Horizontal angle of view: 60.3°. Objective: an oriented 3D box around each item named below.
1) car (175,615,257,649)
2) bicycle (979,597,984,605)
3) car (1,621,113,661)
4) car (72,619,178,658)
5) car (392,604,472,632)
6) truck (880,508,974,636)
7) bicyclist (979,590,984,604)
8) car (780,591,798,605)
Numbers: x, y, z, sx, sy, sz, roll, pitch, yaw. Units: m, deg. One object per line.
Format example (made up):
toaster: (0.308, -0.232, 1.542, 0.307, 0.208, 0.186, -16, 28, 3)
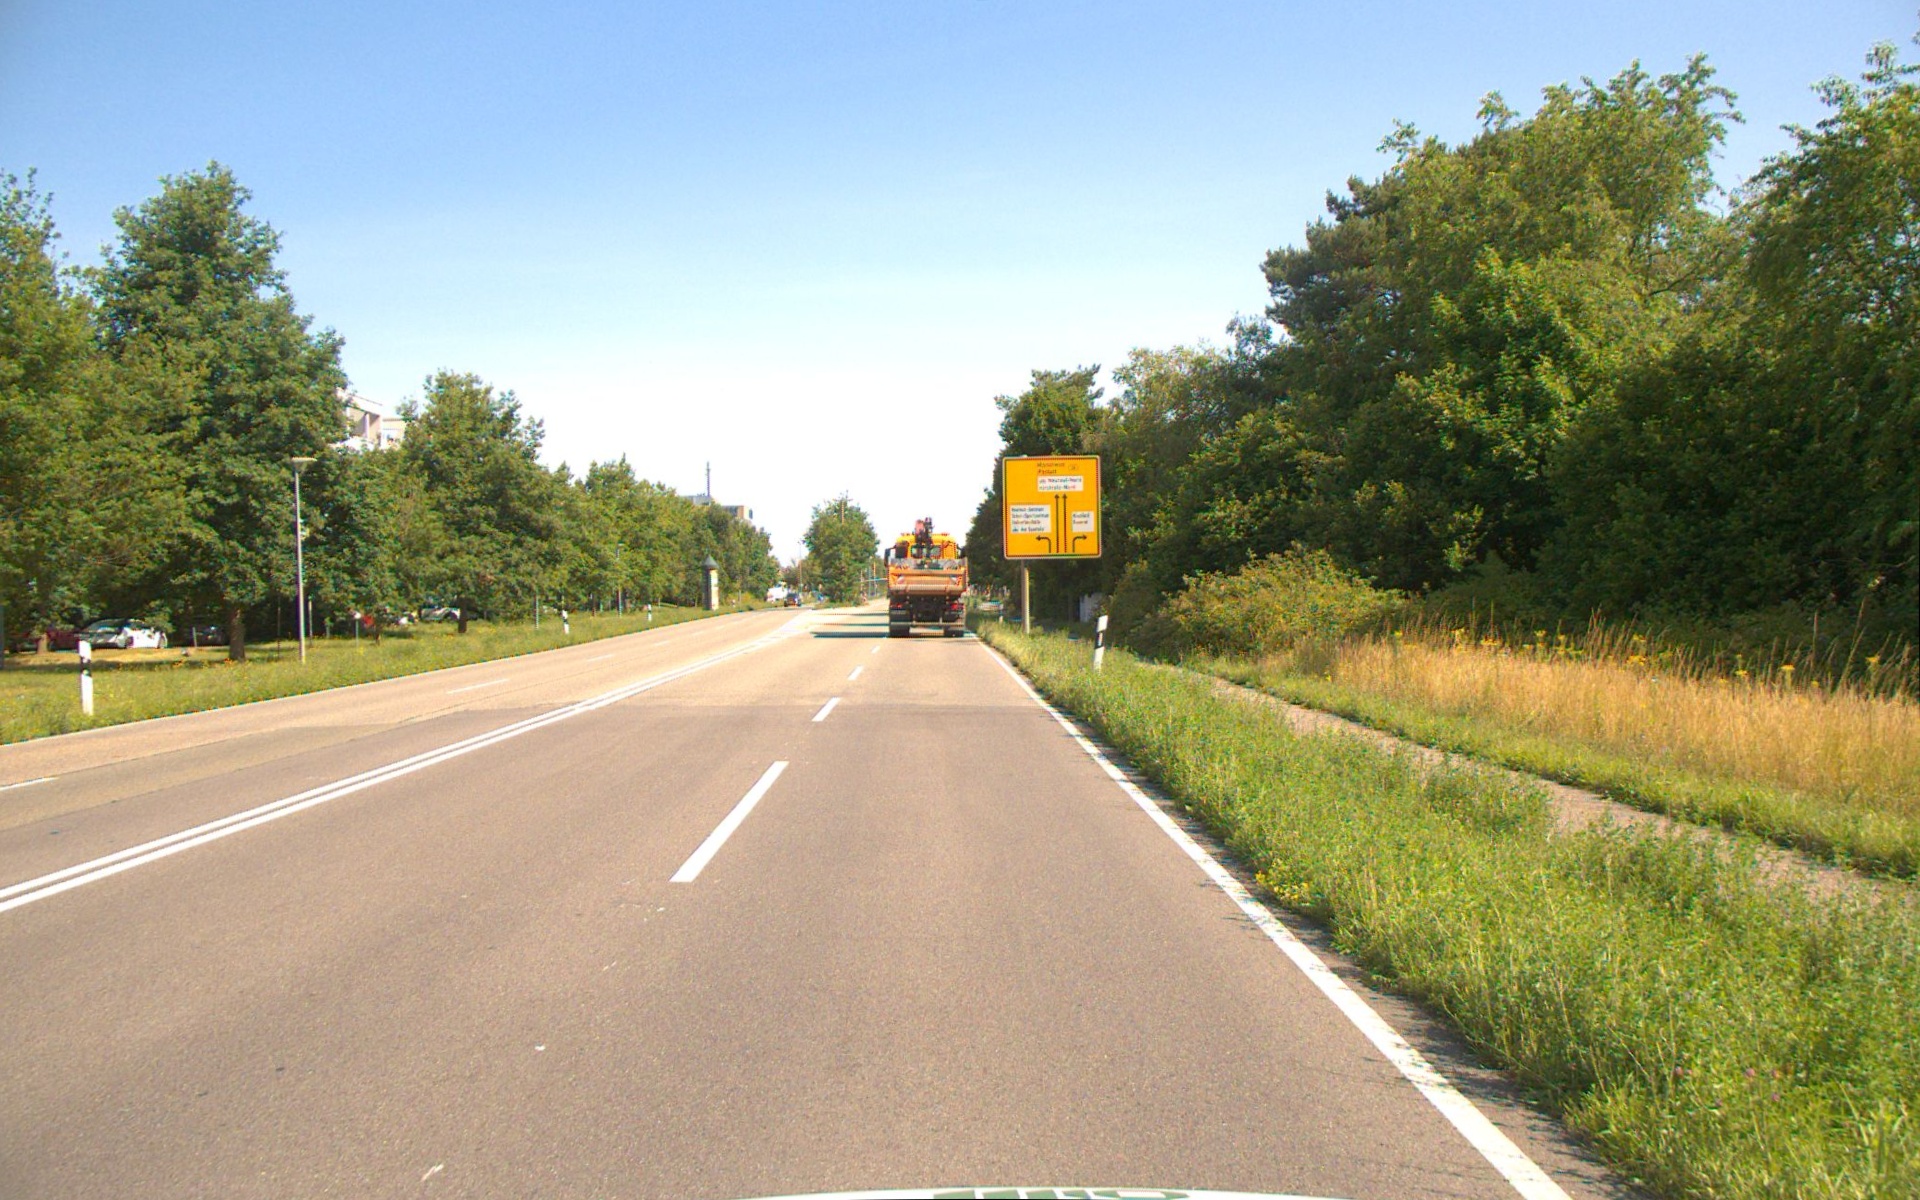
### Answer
car: (-36.231, 1.526, 80.689, 1.953, 1.462, 4.609, -1, 0, -1)
bicycle: (2.457, 0.134, 188.905, 0.547, 0.830, 1.963, -2, 0, -2)
car: (-38.179, 1.698, 70.078, 1.952, 1.462, 4.955, -1, 0, 0)
car: (-35.640, 1.616, 70.740, 1.952, 1.462, 4.955, -1, 0, 0)
car: (-34.076, 1.151, 106.891, 4.502, 1.679, 1.999, -1, 0, -2)
truck: (-1.216, -0.891, 55.198, 2.815, 3.948, 7.395, 1, 0, -3)
bicyclist: (2.441, -0.368, 188.893, 0.547, 1.585, 0.557, -2, 0, -2)
car: (-20.587, -0.251, 199.555, 1.764, 1.599, 3.999, -2, 0, -2)
